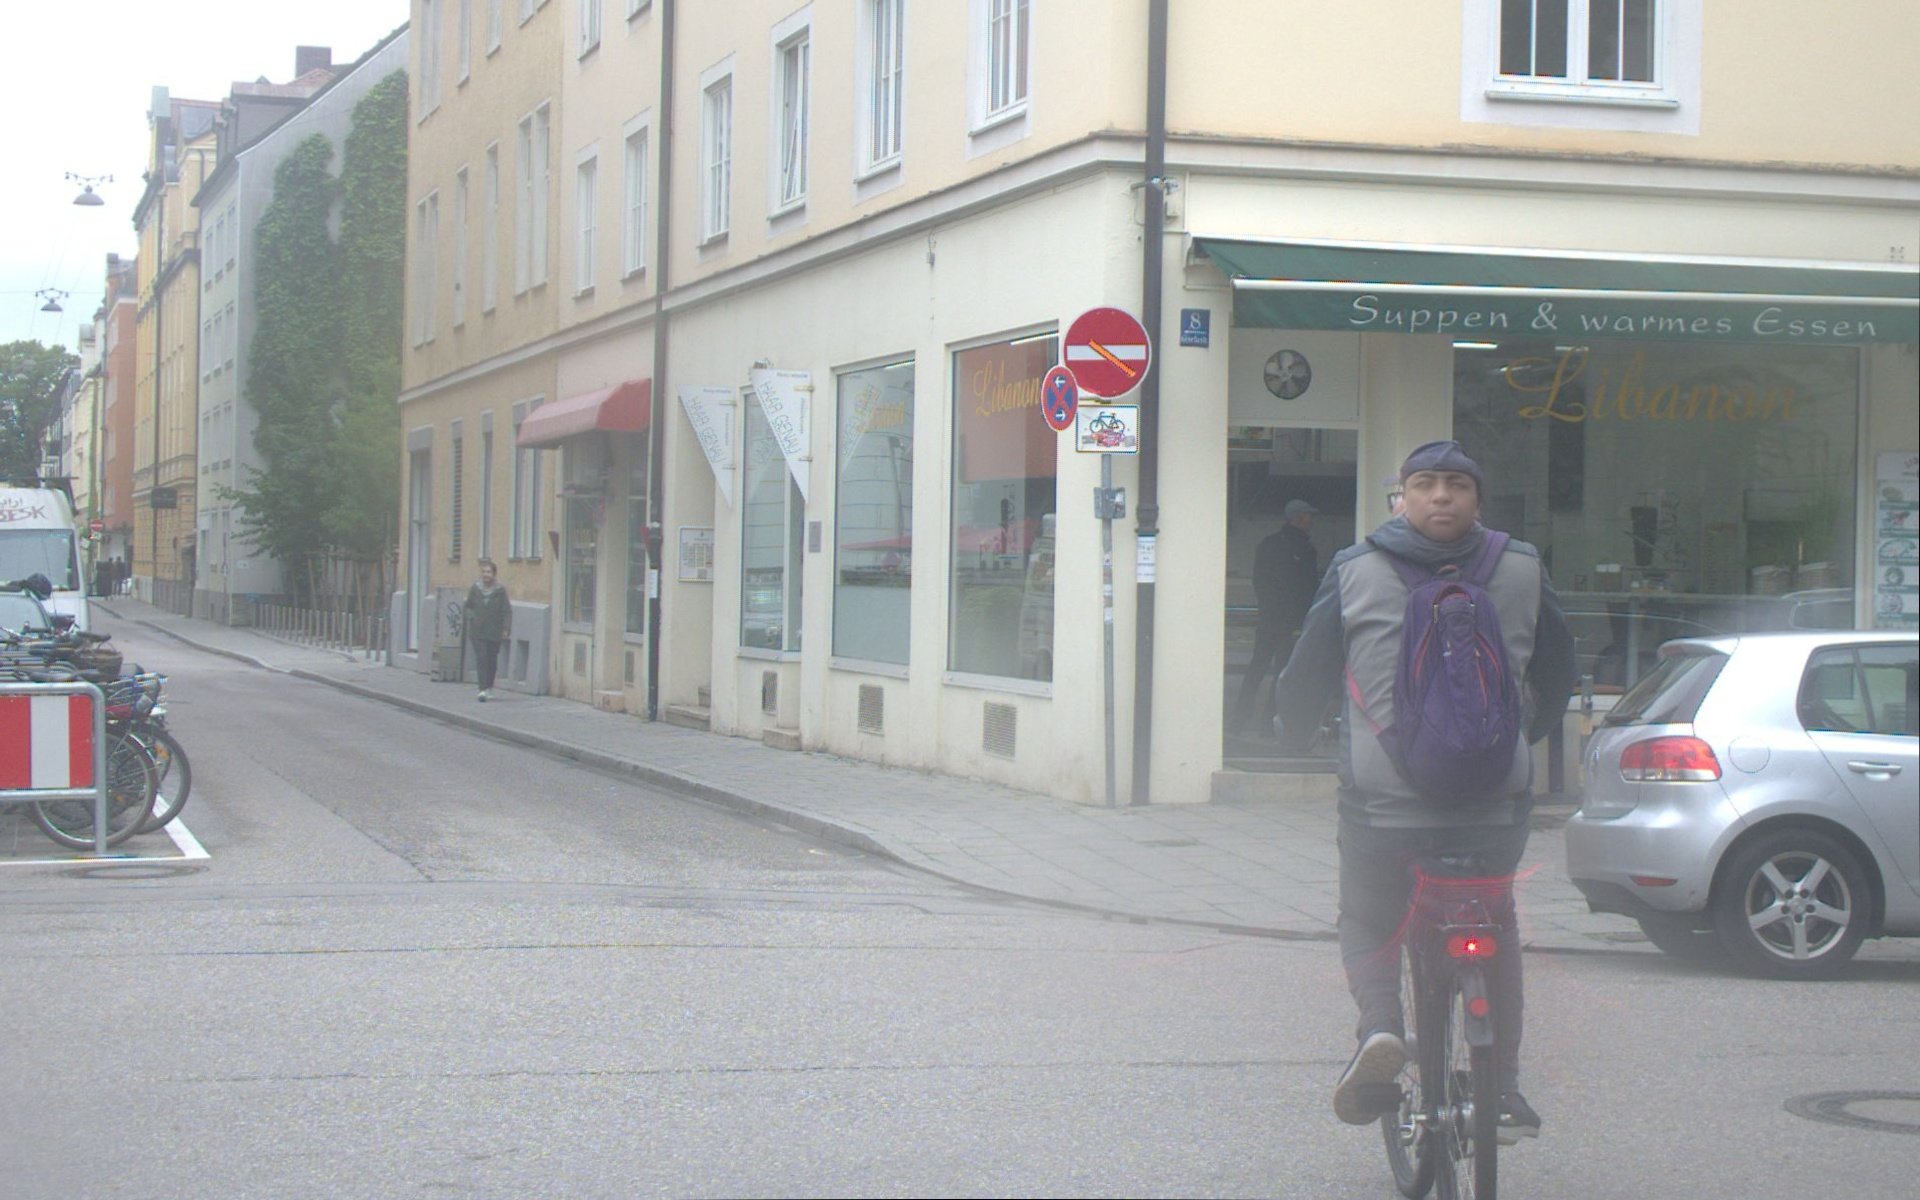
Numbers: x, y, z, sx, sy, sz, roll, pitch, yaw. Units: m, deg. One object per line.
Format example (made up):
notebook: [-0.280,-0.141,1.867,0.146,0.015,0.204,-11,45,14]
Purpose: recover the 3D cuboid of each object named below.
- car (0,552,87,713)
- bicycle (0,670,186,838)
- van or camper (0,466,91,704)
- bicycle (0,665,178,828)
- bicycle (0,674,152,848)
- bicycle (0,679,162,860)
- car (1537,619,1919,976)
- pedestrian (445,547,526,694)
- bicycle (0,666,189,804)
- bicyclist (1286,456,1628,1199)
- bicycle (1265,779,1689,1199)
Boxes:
car: [-9.758,0.280,34.602,1.831,1.530,4.001,1,1,-15]
bicycle: [-5.511,0.906,20.404,1.735,0.965,0.543,1,0,-19]
van or camper: [-10.908,-0.192,38.946,1.993,2.531,4.762,1,1,-14]
bicycle: [-5.695,0.889,21.005,1.735,0.965,0.543,1,0,-19]
bicycle: [-5.544,0.916,19.688,1.735,0.965,0.543,1,0,-19]
bicycle: [-5.348,0.931,19.027,1.754,0.965,0.595,1,0,-19]
car: [4.653,0.873,14.808,3.986,1.411,1.820,1,-3,-1]
pedestrian: [-5.815,0.249,42.069,0.877,1.772,0.774,1,0,-14]
bicycle: [-6.013,0.867,22.307,1.910,0.860,0.619,1,1,-19]
bicyclist: [1.046,0.504,7.375,0.606,1.601,0.757,1,1,1]
bicycle: [1.043,0.937,7.260,0.639,1.001,1.574,2,1,0]
